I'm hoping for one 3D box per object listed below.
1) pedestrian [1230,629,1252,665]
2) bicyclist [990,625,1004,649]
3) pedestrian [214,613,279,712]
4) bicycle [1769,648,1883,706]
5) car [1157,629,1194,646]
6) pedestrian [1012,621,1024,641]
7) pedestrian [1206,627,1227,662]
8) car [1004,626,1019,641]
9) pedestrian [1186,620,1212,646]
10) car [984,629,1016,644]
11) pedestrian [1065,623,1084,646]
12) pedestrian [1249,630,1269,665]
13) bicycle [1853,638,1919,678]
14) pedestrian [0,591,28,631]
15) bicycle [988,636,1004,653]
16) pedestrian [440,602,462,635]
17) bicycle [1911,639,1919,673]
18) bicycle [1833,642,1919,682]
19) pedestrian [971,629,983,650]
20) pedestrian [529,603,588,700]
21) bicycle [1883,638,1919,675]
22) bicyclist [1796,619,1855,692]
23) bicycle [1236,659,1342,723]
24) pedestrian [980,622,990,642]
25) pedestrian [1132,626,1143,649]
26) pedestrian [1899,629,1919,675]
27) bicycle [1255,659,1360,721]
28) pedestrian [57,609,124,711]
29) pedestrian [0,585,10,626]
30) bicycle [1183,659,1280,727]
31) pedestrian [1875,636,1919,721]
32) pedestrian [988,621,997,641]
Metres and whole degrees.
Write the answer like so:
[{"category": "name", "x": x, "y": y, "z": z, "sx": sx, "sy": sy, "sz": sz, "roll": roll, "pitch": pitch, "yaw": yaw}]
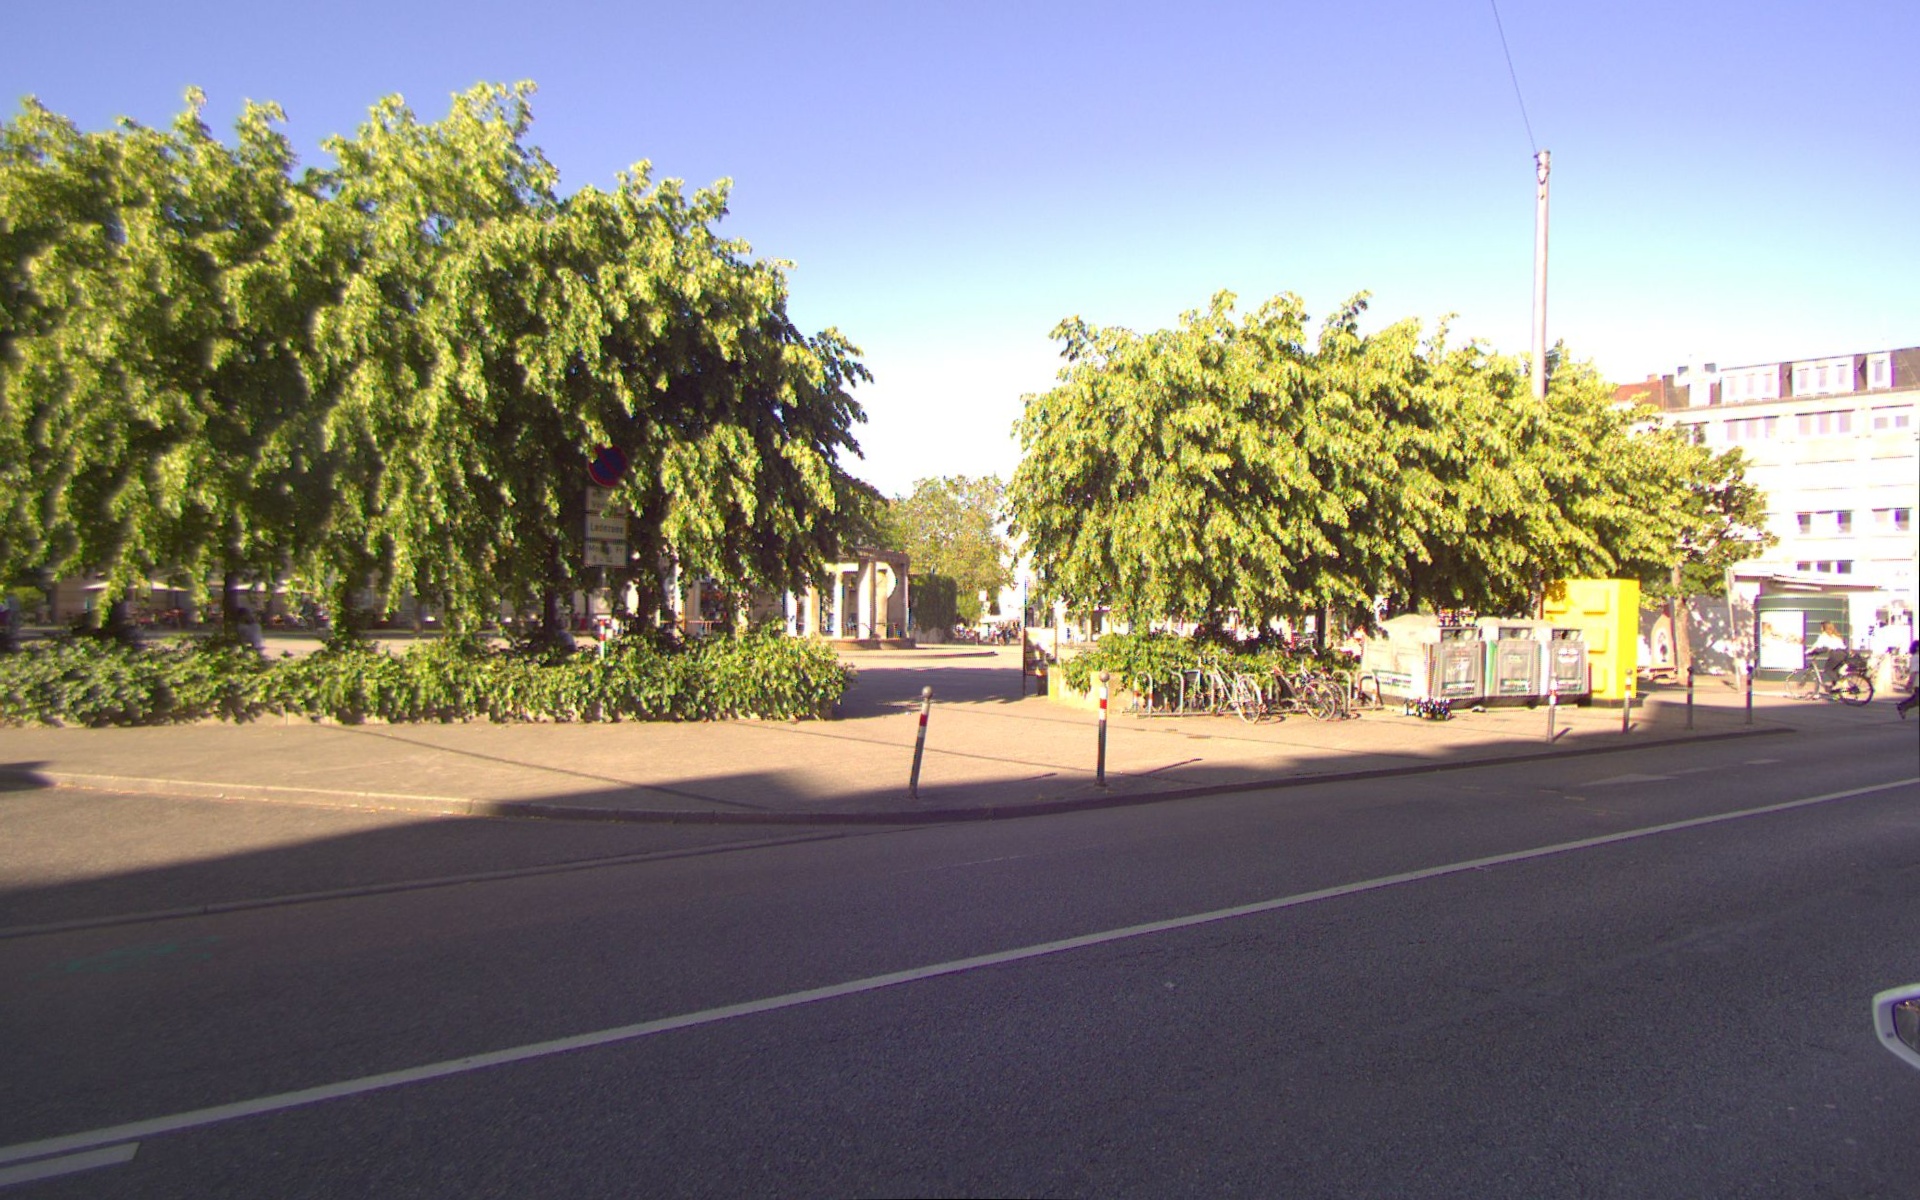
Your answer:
[{"category": "pedestrian", "x": 12.588, "y": 2.100, "z": 44.983, "sx": 0.761, "sy": 1.541, "sz": 0.838, "roll": 2, "pitch": 0, "yaw": 6}, {"category": "bicyclist", "x": 2.707, "y": 2.761, "z": 74.462, "sx": 0.775, "sy": 1.722, "sz": 0.893, "roll": 2, "pitch": 0, "yaw": -15}, {"category": "pedestrian", "x": -10.858, "y": 0.934, "z": 15.297, "sx": 0.581, "sy": 1.456, "sz": 0.615, "roll": 2, "pitch": 0, "yaw": 33}, {"category": "bicycle", "x": 19.927, "y": 1.738, "z": 23.161, "sx": 0.567, "sy": 1.174, "sz": 1.950, "roll": 1, "pitch": 0, "yaw": -20}, {"category": "car", "x": 17.534, "y": 3.024, "z": 81.734, "sx": 2.710, "sy": 1.283, "sz": 1.240, "roll": 2, "pitch": 0, "yaw": 36}, {"category": "pedestrian", "x": 5.455, "y": 2.905, "z": 94.560, "sx": 0.891, "sy": 1.845, "sz": 0.952, "roll": 2, "pitch": 0, "yaw": 17}, {"category": "pedestrian", "x": 11.730, "y": 2.036, "z": 45.931, "sx": 0.904, "sy": 1.541, "sz": 0.936, "roll": 2, "pitch": 0, "yaw": 15}, {"category": "car", "x": 5.620, "y": 3.606, "z": 109.744, "sx": 1.520, "sy": 1.550, "sz": 4.136, "roll": 1, "pitch": -1, "yaw": 5}, {"category": "pedestrian", "x": 11.582, "y": 1.593, "z": 48.654, "sx": 0.855, "sy": 1.230, "sz": 0.933, "roll": 2, "pitch": 0, "yaw": -14}, {"category": "car", "x": 3.681, "y": 3.370, "z": 92.761, "sx": 2.711, "sy": 1.283, "sz": 1.239, "roll": 2, "pitch": 0, "yaw": 37}, {"category": "pedestrian", "x": 9.636, "y": 2.902, "z": 84.402, "sx": 1.277, "sy": 1.867, "sz": 1.100, "roll": 2, "pitch": 0, "yaw": 28}, {"category": "pedestrian", "x": 13.328, "y": 2.118, "z": 44.807, "sx": 0.598, "sy": 1.528, "sz": 0.557, "roll": 2, "pitch": 0, "yaw": -15}, {"category": "bicycle", "x": 33.135, "y": 2.042, "z": 35.063, "sx": 0.923, "sy": 1.291, "sz": 2.764, "roll": 2, "pitch": 0, "yaw": -32}, {"category": "pedestrian", "x": -37.655, "y": 0.433, "z": 39.867, "sx": 0.680, "sy": 1.550, "sz": 0.684, "roll": 2, "pitch": 0, "yaw": 1}, {"category": "bicycle", "x": 2.645, "y": 3.306, "z": 74.530, "sx": 0.595, "sy": 1.116, "sz": 1.982, "roll": 2, "pitch": 0, "yaw": -16}, {"category": "pedestrian", "x": -24.308, "y": 0.886, "z": 47.978, "sx": 0.684, "sy": 1.550, "sz": 0.736, "roll": 2, "pitch": 0, "yaw": 43}, {"category": "bicycle", "x": 37.238, "y": 2.157, "z": 37.273, "sx": 0.932, "sy": 1.276, "sz": 2.648, "roll": 2, "pitch": 0, "yaw": -32}, {"category": "bicycle", "x": 31.213, "y": 2.065, "z": 33.760, "sx": 0.932, "sy": 1.211, "sz": 2.645, "roll": 2, "pitch": 0, "yaw": -32}, {"category": "pedestrian", "x": 1.260, "y": 2.925, "z": 74.365, "sx": 0.573, "sy": 1.544, "sz": 0.620, "roll": 2, "pitch": 0, "yaw": -34}, {"category": "pedestrian", "x": -6.584, "y": 0.832, "z": 16.471, "sx": 0.688, "sy": 1.541, "sz": 0.676, "roll": 2, "pitch": 0, "yaw": -41}, {"category": "bicycle", "x": 35.254, "y": 2.086, "z": 36.129, "sx": 0.932, "sy": 1.287, "sz": 2.859, "roll": 2, "pitch": 0, "yaw": -32}, {"category": "bicyclist", "x": 19.940, "y": 1.261, "z": 23.160, "sx": 0.571, "sy": 1.636, "sz": 0.825, "roll": 1, "pitch": 0, "yaw": -20}, {"category": "bicycle", "x": 5.267, "y": 1.444, "z": 16.181, "sx": 0.465, "sy": 0.870, "sz": 1.659, "roll": 2, "pitch": 0, "yaw": -35}, {"category": "pedestrian", "x": 2.582, "y": 3.226, "z": 102.033, "sx": 0.836, "sy": 2.040, "sz": 0.855, "roll": 2, "pitch": 0, "yaw": 10}, {"category": "pedestrian", "x": 12.474, "y": 2.619, "z": 70.525, "sx": 0.614, "sy": 1.544, "sz": 0.579, "roll": 2, "pitch": 0, "yaw": 25}, {"category": "pedestrian", "x": 34.351, "y": 1.859, "z": 35.781, "sx": 1.247, "sy": 1.633, "sz": 1.091, "roll": 2, "pitch": 0, "yaw": 41}, {"category": "bicycle", "x": 5.666, "y": 1.454, "z": 16.476, "sx": 0.465, "sy": 0.870, "sz": 1.654, "roll": 2, "pitch": 0, "yaw": -35}, {"category": "pedestrian", "x": -12.866, "y": 0.871, "z": 14.880, "sx": 0.615, "sy": 1.456, "sz": 0.647, "roll": 2, "pitch": 0, "yaw": -32}, {"category": "pedestrian", "x": -37.472, "y": 0.206, "z": 38.956, "sx": 0.684, "sy": 1.545, "sz": 0.680, "roll": 2, "pitch": 0, "yaw": -23}, {"category": "bicycle", "x": 4.168, "y": 1.411, "z": 15.523, "sx": 0.464, "sy": 0.897, "sz": 1.558, "roll": 2, "pitch": 0, "yaw": -29}, {"category": "pedestrian", "x": 18.124, "y": 1.492, "z": 19.104, "sx": 0.688, "sy": 1.564, "sz": 0.915, "roll": 2, "pitch": 0, "yaw": -35}, {"category": "pedestrian", "x": 3.451, "y": 3.272, "z": 106.087, "sx": 0.836, "sy": 2.040, "sz": 0.855, "roll": 2, "pitch": 0, "yaw": 10}]
